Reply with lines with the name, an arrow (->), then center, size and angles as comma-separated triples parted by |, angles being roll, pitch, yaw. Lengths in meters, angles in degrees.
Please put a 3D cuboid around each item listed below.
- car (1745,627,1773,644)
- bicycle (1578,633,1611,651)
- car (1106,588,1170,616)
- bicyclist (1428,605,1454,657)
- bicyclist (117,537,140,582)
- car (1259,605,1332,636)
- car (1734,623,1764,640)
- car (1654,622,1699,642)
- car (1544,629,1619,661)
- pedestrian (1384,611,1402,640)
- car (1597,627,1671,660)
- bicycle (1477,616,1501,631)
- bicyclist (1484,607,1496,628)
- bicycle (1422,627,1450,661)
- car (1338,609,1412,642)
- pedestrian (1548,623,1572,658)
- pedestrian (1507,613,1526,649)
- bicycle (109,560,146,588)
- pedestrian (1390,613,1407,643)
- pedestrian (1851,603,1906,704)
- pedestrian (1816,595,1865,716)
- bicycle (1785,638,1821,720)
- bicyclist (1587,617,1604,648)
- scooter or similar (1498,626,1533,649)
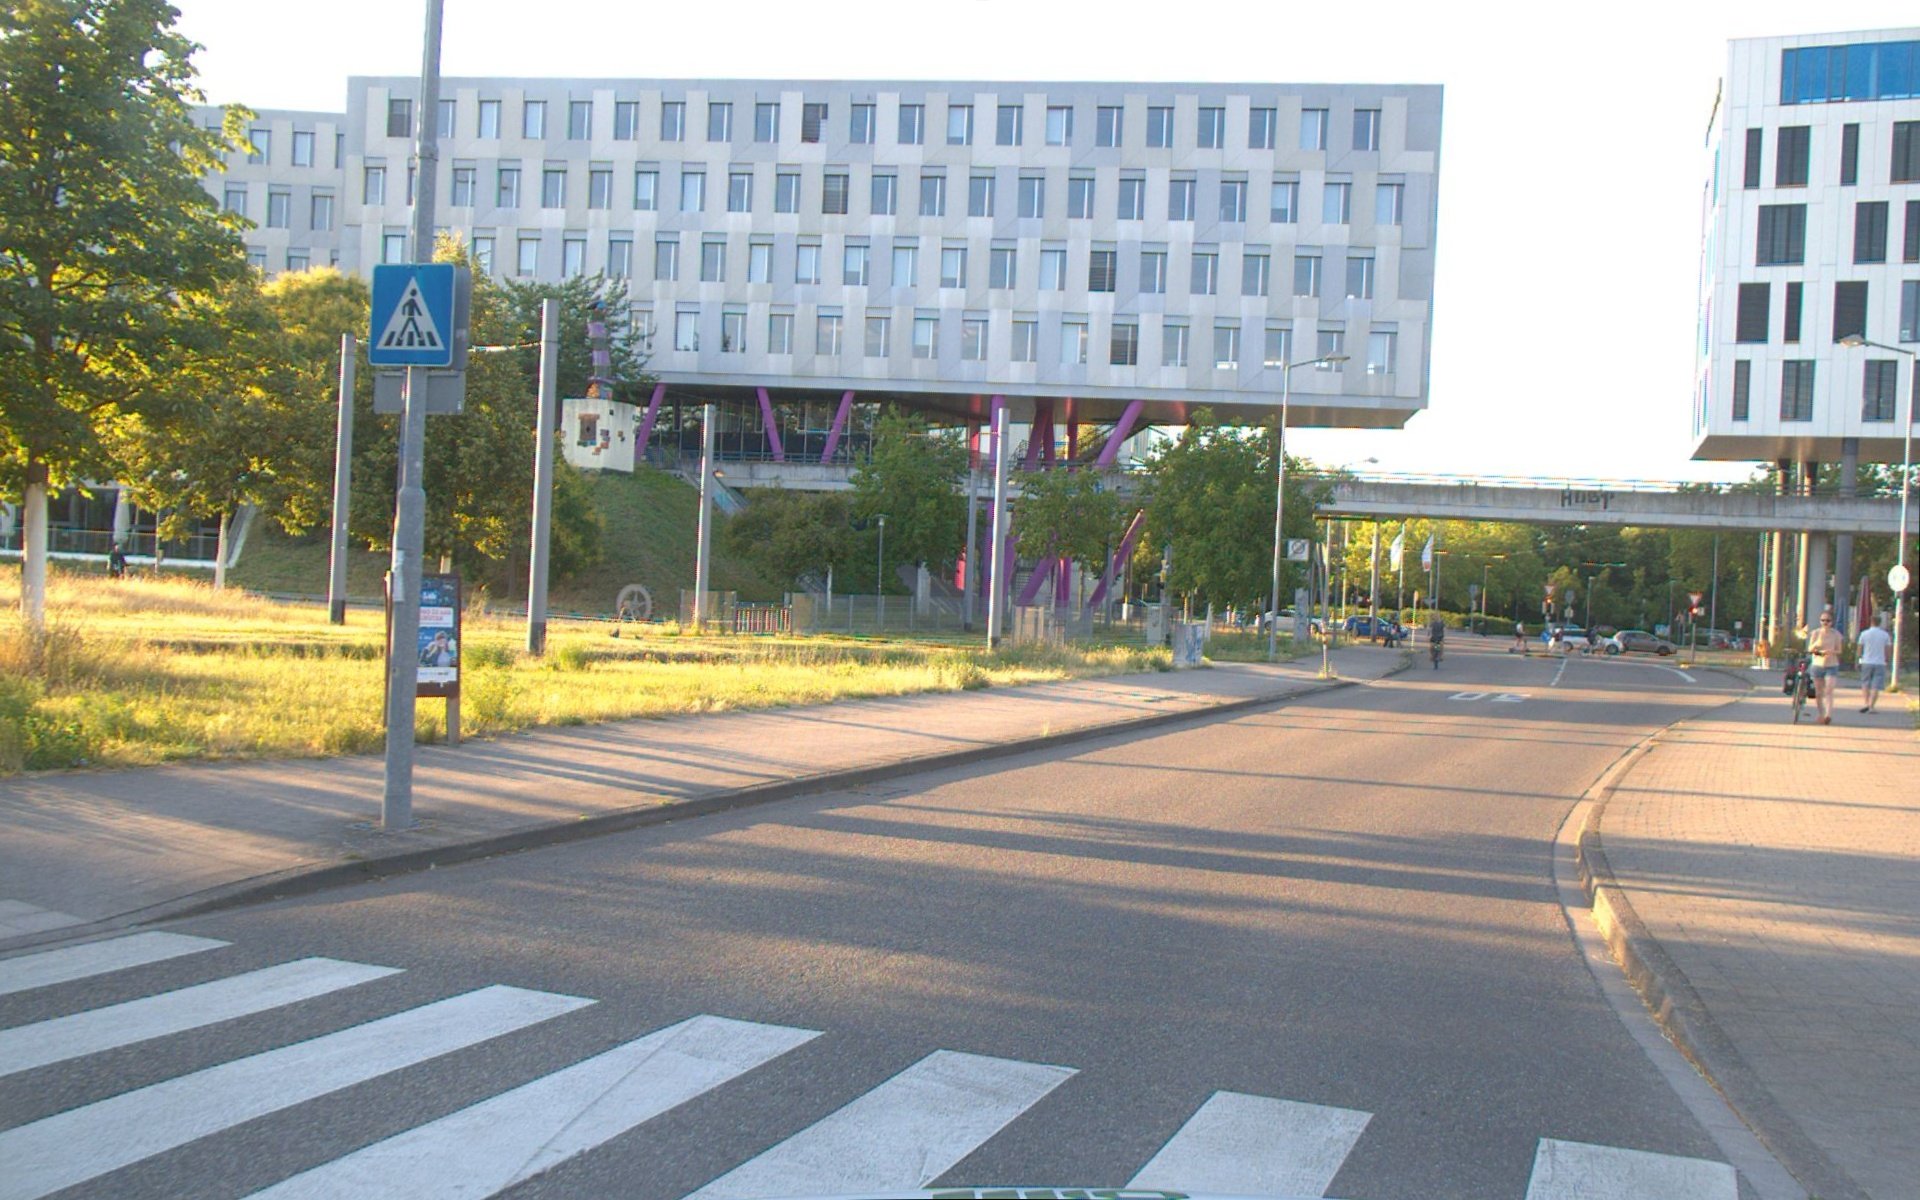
car -> 82.197, 3.658, 170.137 | 3.374, 1.634, 1.479 | 1, 2, -42
bicycle -> 36.056, 2.383, 94.005 | 1.657, 0.965, 0.512 | 3, 1, 14
car -> 13.271, 0.166, 123.262 | 4.376, 1.848, 1.945 | 3, 1, 21
bicyclist -> 16.098, 1.018, 55.343 | 0.603, 1.691, 1.035 | 3, 1, 26
bicyclist -> -28.415, -1.391, 56.509 | 0.502, 1.520, 0.424 | 3, 1, 24
car -> 23.050, 1.398, 113.624 | 4.593, 1.860, 1.834 | 3, 2, 23
car -> 79.776, 3.164, 167.207 | 3.374, 1.634, 1.479 | 1, 2, -42
car -> 82.918, 3.693, 191.461 | 4.596, 1.901, 2.010 | 3, 2, 29
car -> 39.566, 2.837, 105.354 | 4.323, 1.754, 1.835 | 3, 1, 20
pedestrian -> 25.025, 1.476, 95.597 | 0.675, 1.652, 0.708 | 3, 2, 39
car -> 43.669, 2.795, 107.239 | 4.325, 1.830, 1.834 | 3, 2, 23
bicycle -> 46.240, 2.060, 144.519 | 1.923, 1.148, 0.560 | 2, 1, -4
bicyclist -> 46.324, 1.518, 144.509 | 0.742, 1.753, 0.552 | 2, 1, -3
bicycle -> 15.992, 1.467, 55.529 | 0.528, 1.061, 1.923 | 3, 2, 26
car -> 27.318, 1.664, 109.072 | 4.613, 1.860, 1.894 | 3, 1, 13
pedestrian -> 33.470, 2.278, 92.246 | 1.031, 1.865, 0.896 | 2, 1, 9
pedestrian -> 32.212, 1.789, 95.771 | 0.889, 2.025, 0.772 | 3, 1, 14
bicycle -> -28.446, -0.887, 56.525 | 1.207, 0.915, 0.431 | 3, 1, 23
pedestrian -> 25.517, 1.644, 96.197 | 0.689, 1.693, 0.708 | 3, 2, 39
pedestrian -> 16.990, 0.975, 30.608 | 0.816, 1.797, 0.816 | 3, 1, 29
pedestrian -> 13.865, 0.856, 26.043 | 0.583, 1.833, 0.816 | 3, 1, 29
bicycle -> 13.395, 1.230, 26.259 | 0.441, 1.189, 1.938 | 3, 1, 27
bicyclist -> 36.106, 1.852, 93.994 | 0.750, 1.734, 0.513 | 3, 1, 14
scooter or similar -> 32.169, 2.167, 95.808 | 1.820, 1.194, 0.765 | 3, 1, 14
